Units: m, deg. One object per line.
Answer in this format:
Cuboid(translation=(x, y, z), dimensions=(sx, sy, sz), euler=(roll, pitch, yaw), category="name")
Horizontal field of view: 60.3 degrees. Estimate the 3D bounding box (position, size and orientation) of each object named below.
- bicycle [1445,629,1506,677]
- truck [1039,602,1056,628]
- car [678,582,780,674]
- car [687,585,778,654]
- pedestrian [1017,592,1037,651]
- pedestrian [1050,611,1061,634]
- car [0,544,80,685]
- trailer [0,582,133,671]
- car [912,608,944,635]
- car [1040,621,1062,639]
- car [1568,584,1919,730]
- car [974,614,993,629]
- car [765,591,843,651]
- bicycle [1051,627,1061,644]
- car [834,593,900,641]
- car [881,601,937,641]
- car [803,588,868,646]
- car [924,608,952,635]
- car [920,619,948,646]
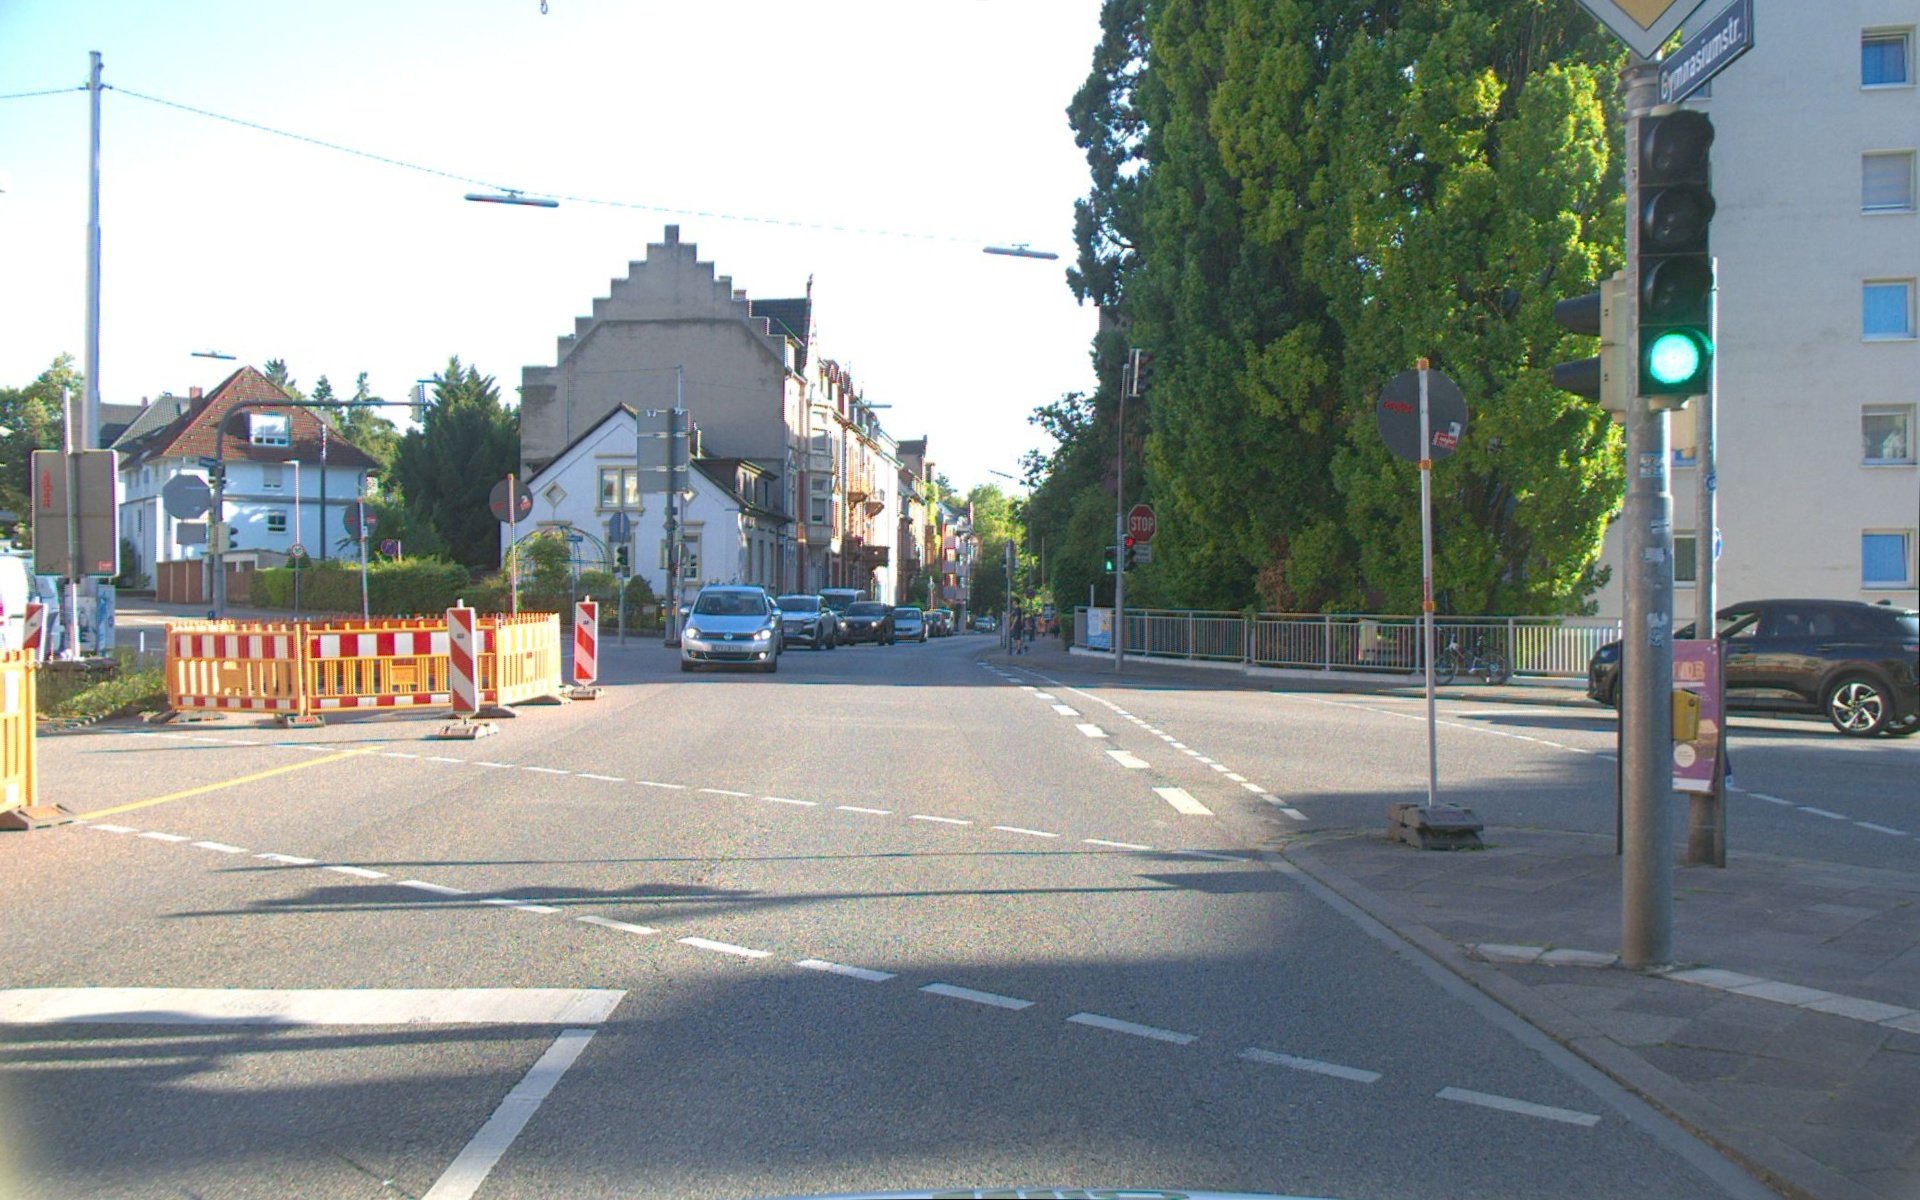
Cuboid(translation=(10.304, 1.061, 33.059), dimensions=(1.271, 0.919, 0.405), euler=(1, 0, -31), category="bicycle")
Cuboid(translation=(10.442, 1.737, 196.362), dimensions=(1.952, 2.947, 4.472), euler=(0, 0, 3), category="truck")
Cuboid(translation=(-4.343, 0.479, 31.129), dimensions=(1.742, 1.570, 3.993), euler=(1, 0, -8), category="car")
Cuboid(translation=(-5.376, 0.427, 39.463), dimensions=(1.740, 1.506, 4.094), euler=(1, 0, -3), category="car")
Cuboid(translation=(1.999, 0.628, 49.197), dimensions=(0.589, 1.722, 0.612), euler=(-1, 0, 3), category="pedestrian")
Cuboid(translation=(5.866, 1.380, 101.495), dimensions=(0.585, 1.427, 0.668), euler=(1, 0, 2), category="pedestrian")
Cuboid(translation=(-15.884, 0.136, 24.424), dimensions=(4.573, 1.999, 2.117), euler=(2, 0, -2), category="car")
Cuboid(translation=(-16.160, 0.419, 28.279), dimensions=(3.188, 1.421, 1.574), euler=(2, 0, -2), category="trailer")
Cuboid(translation=(-2.083, 1.437, 109.947), dimensions=(1.666, 1.737, 4.442), euler=(2, 0, 5), category="car")
Cuboid(translation=(8.566, 2.810, 155.253), dimensions=(1.951, 1.544, 4.003), euler=(0, 0, 5), category="car")
Cuboid(translation=(10.577, 0.708, 21.533), dimensions=(1.985, 1.699, 4.587), euler=(5, -3, -44), category="car")
Cuboid(translation=(2.647, 2.426, 188.136), dimensions=(1.952, 1.517, 4.472), euler=(0, 0, 4), category="car")
Cuboid(translation=(-4.656, 0.585, 49.940), dimensions=(1.739, 1.677, 4.535), euler=(2, 0, 2), category="car")
Cuboid(translation=(5.833, 2.156, 100.896), dimensions=(0.554, 0.987, 0.492), euler=(1, 0, 0), category="bicycle")
Cuboid(translation=(-3.504, 0.613, 62.892), dimensions=(1.912, 1.677, 4.285), euler=(2, 0, 4), category="car")
Cuboid(translation=(-2.321, 0.947, 76.576), dimensions=(1.912, 1.677, 4.287), euler=(2, 0, 7), category="car")
Cuboid(translation=(-5.610, 0.768, 75.493), dimensions=(2.024, 2.503, 6.017), euler=(2, 0, 4), category="car")
Cuboid(translation=(-1.654, 1.634, 126.564), dimensions=(1.755, 2.045, 4.699), euler=(2, 0, 3), category="car")
Cuboid(translation=(-1.786, 2.254, 116.021), dimensions=(1.667, 1.769, 3.858), euler=(2, 0, 3), category="car")
